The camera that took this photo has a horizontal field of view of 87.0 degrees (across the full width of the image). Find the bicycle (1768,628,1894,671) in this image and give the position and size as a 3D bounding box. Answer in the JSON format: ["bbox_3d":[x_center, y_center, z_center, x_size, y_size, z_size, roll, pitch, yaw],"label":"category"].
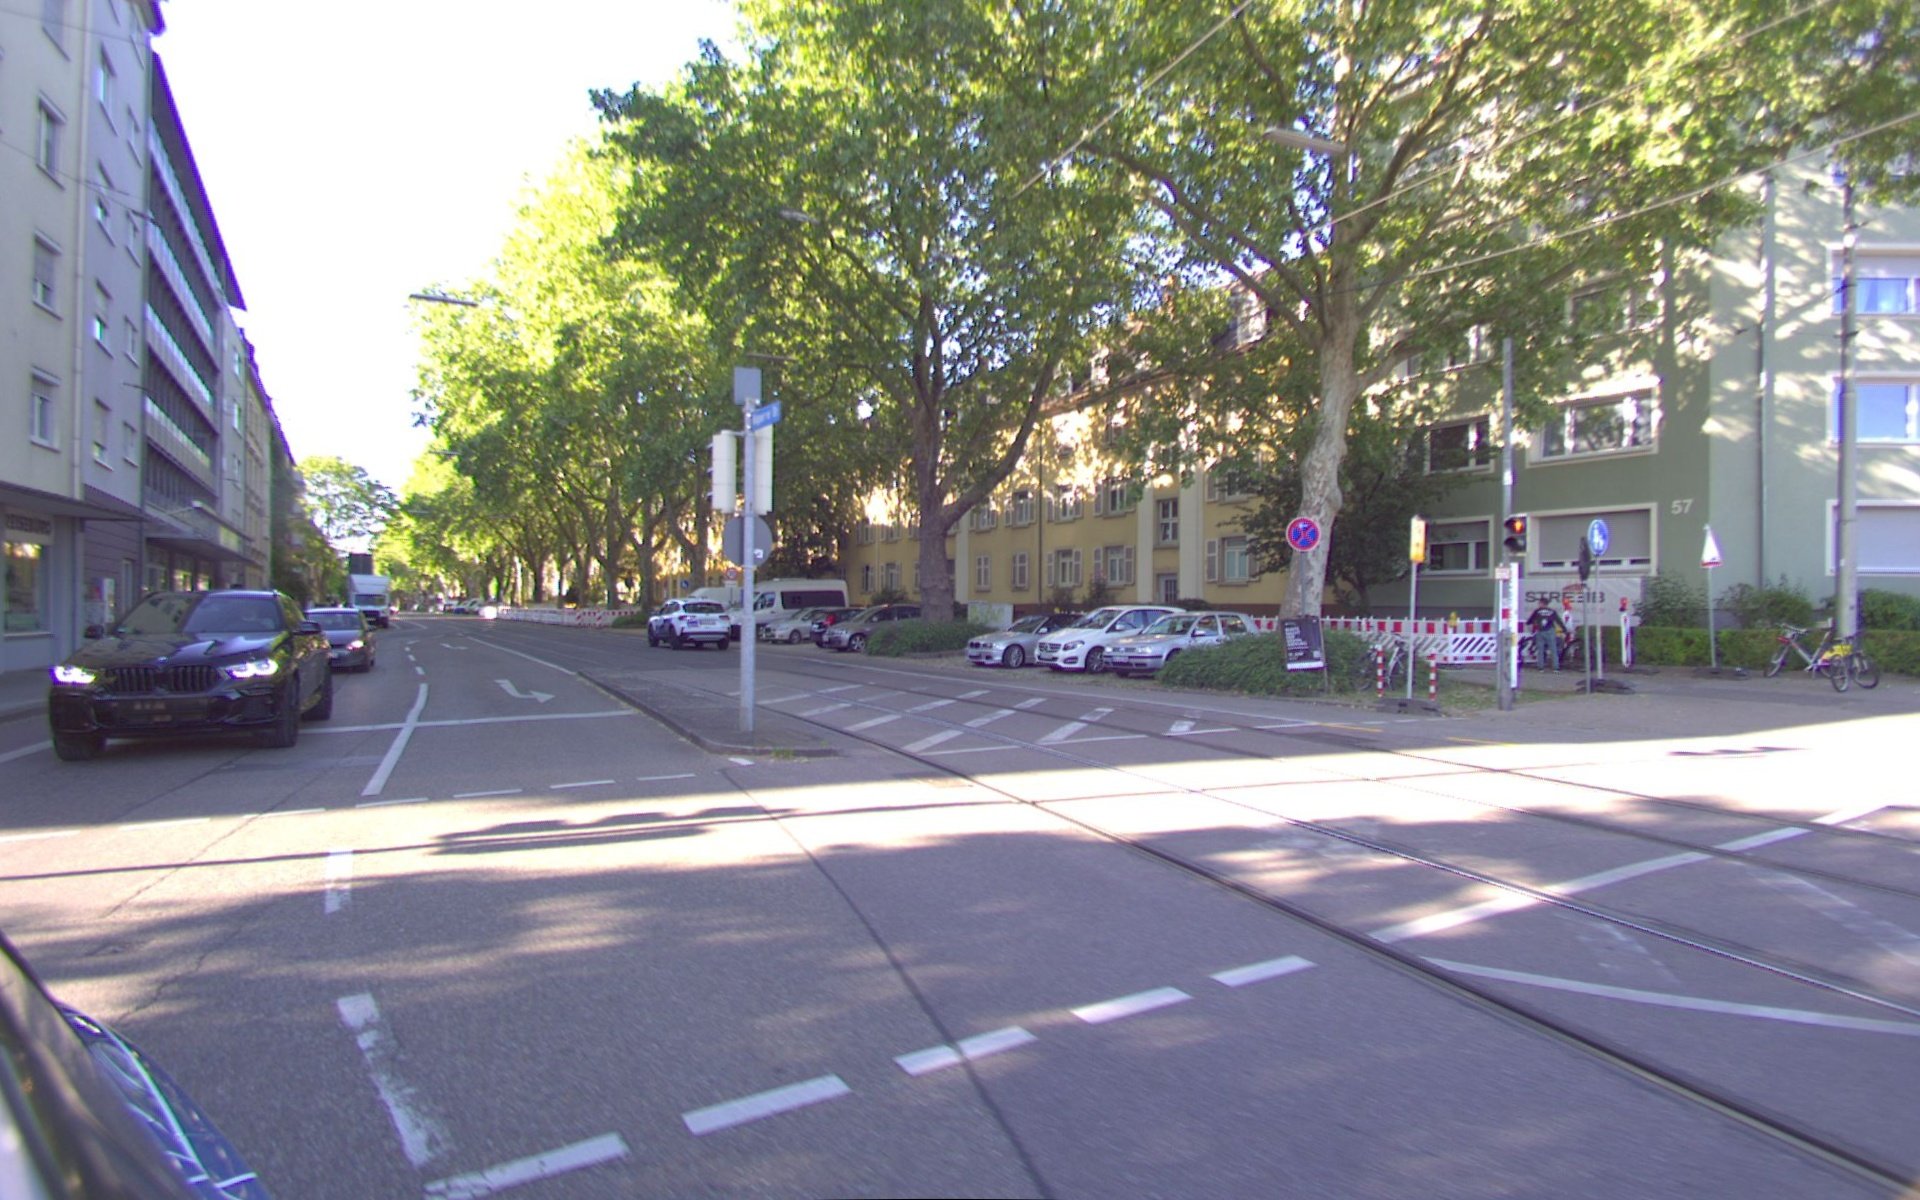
[{"bbox_3d":[16.450,0.924,19.148,1.767,0.765,0.356,0,-1,21],"label":"bicycle"}]

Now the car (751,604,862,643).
[{"bbox_3d":[-6.304,0.941,41.635,4.206,1.457,1.699,-1,1,-28],"label":"car"}]

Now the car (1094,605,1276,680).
[{"bbox_3d":[5.024,0.882,22.420,3.933,1.427,1.709,-1,1,-34],"label":"car"}]

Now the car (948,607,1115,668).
[{"bbox_3d":[1.894,0.937,26.657,4.013,1.379,1.850,-1,1,-28],"label":"car"}]

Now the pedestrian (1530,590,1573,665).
[{"bbox_3d":[12.662,0.575,21.646,0.741,1.580,0.595,-1,-1,35],"label":"pedestrian"}]

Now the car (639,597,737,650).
[{"bbox_3d":[-9.112,0.755,33.669,1.966,1.644,4.644,0,-1,-31],"label":"car"}]

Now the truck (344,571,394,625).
[{"bbox_3d":[-35.718,-0.149,61.095,2.305,3.137,5.227,-1,1,-33],"label":"truck"}]

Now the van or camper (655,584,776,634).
[{"bbox_3d":[-12.560,0.411,52.089,5.668,2.403,2.163,-1,1,-29],"label":"van or camper"}]

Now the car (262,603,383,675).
[{"bbox_3d":[-14.455,0.807,23.165,1.898,1.416,3.953,-1,1,-26],"label":"car"}]

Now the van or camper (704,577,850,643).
[{"bbox_3d":[-7.889,0.380,43.892,5.834,2.668,2.163,-1,1,-29],"label":"van or camper"}]

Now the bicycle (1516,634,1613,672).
[{"bbox_3d":[13.088,1.146,21.937,1.776,0.765,0.354,-1,-1,35],"label":"bicycle"}]

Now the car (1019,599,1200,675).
[{"bbox_3d":[3.650,0.831,24.584,4.013,1.624,1.850,-1,1,-28],"label":"car"}]

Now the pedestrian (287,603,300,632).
[{"bbox_3d":[-39.207,1.019,59.544,0.532,1.735,0.632,0,-1,-28],"label":"pedestrian"}]

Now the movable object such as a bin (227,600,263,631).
[{"bbox_3d":[-33.308,0.702,47.177,1.184,1.421,1.376,0,-1,-28],"label":"movable object such as a bin"}]

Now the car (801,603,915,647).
[{"bbox_3d":[-3.730,0.888,37.024,3.797,1.457,1.699,-1,1,-28],"label":"car"}]

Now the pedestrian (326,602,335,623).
[{"bbox_3d":[-43.843,0.883,70.488,0.532,1.456,0.632,0,-1,-28],"label":"pedestrian"}]

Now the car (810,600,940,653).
[{"bbox_3d":[-2.900,0.843,34.510,4.013,1.631,1.850,-1,1,-28],"label":"car"}]

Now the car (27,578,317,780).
[{"bbox_3d":[-8.530,0.669,11.420,1.899,1.765,4.698,-1,1,-30],"label":"car"}]

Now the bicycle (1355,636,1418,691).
[{"bbox_3d":[7.623,1.112,18.045,1.548,0.895,0.359,0,-1,-40],"label":"bicycle"}]

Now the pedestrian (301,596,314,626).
[{"bbox_3d":[-37.418,0.617,58.038,0.532,1.685,0.632,0,-1,-28],"label":"pedestrian"}]

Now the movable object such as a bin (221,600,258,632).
[{"bbox_3d":[-32.319,0.718,45.431,1.184,1.421,1.376,0,-1,-28],"label":"movable object such as a bin"}]

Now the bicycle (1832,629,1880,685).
[{"bbox_3d":[15.404,0.965,17.390,1.752,0.895,0.359,0,-1,-40],"label":"bicycle"}]
